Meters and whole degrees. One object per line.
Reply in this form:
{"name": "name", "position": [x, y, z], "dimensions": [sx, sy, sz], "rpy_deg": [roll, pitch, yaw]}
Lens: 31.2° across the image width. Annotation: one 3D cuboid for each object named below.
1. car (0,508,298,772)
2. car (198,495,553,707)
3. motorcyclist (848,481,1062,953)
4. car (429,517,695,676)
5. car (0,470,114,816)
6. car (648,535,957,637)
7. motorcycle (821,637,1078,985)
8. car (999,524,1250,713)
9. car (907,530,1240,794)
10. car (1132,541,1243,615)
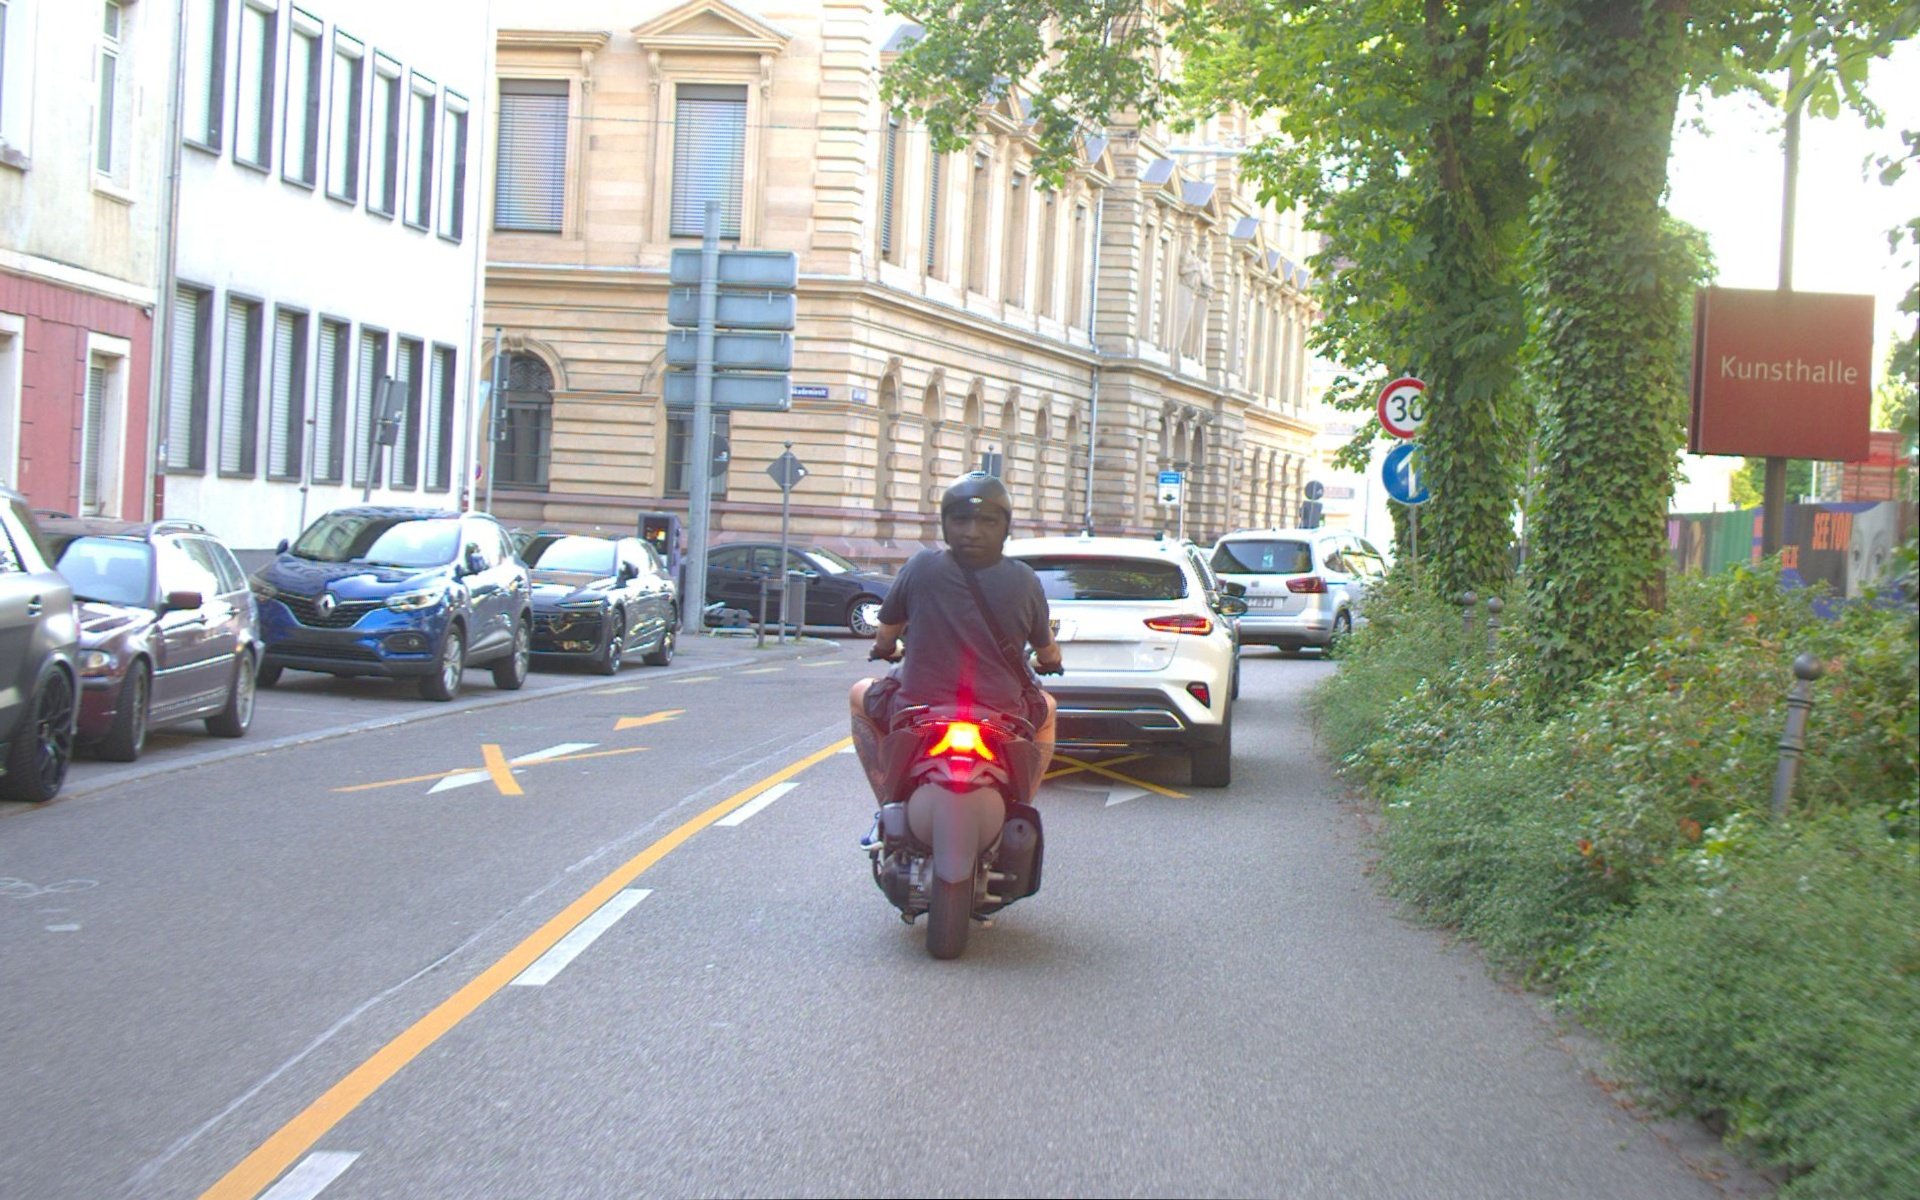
{"name": "car", "position": [-5.587, 0.178, 22.006], "dimensions": [1.653, 1.475, 4.428], "rpy_deg": [2, 1, 2]}
{"name": "car", "position": [-5.037, -0.032, 30.249], "dimensions": [1.934, 1.662, 4.346], "rpy_deg": [2, 1, 6]}
{"name": "motorcyclist", "position": [-0.012, 0.412, 12.601], "dimensions": [0.657, 1.645, 0.651], "rpy_deg": [4, 1, 1]}
{"name": "car", "position": [-4.245, -0.078, 37.397], "dimensions": [1.824, 1.498, 4.759], "rpy_deg": [4, 1, 5]}
{"name": "car", "position": [-5.601, 0.183, 16.053], "dimensions": [1.922, 1.674, 4.785], "rpy_deg": [2, 1, 2]}
{"name": "car", "position": [-2.383, -0.224, 52.207], "dimensions": [4.316, 1.385, 1.774], "rpy_deg": [2, 1, 15]}
{"name": "motorcycle", "position": [-0.015, 0.719, 12.429], "dimensions": [0.796, 1.062, 1.725], "rpy_deg": [4, 1, 1]}
{"name": "car", "position": [1.547, 0.125, 30.863], "dimensions": [1.841, 1.458, 4.056], "rpy_deg": [4, 1, 7]}
{"name": "car", "position": [0.807, 0.315, 21.675], "dimensions": [1.851, 1.475, 4.057], "rpy_deg": [1, 1, 5]}
{"name": "car", "position": [5.055, -0.500, 75.934], "dimensions": [1.994, 1.523, 4.183], "rpy_deg": [2, 1, 10]}
